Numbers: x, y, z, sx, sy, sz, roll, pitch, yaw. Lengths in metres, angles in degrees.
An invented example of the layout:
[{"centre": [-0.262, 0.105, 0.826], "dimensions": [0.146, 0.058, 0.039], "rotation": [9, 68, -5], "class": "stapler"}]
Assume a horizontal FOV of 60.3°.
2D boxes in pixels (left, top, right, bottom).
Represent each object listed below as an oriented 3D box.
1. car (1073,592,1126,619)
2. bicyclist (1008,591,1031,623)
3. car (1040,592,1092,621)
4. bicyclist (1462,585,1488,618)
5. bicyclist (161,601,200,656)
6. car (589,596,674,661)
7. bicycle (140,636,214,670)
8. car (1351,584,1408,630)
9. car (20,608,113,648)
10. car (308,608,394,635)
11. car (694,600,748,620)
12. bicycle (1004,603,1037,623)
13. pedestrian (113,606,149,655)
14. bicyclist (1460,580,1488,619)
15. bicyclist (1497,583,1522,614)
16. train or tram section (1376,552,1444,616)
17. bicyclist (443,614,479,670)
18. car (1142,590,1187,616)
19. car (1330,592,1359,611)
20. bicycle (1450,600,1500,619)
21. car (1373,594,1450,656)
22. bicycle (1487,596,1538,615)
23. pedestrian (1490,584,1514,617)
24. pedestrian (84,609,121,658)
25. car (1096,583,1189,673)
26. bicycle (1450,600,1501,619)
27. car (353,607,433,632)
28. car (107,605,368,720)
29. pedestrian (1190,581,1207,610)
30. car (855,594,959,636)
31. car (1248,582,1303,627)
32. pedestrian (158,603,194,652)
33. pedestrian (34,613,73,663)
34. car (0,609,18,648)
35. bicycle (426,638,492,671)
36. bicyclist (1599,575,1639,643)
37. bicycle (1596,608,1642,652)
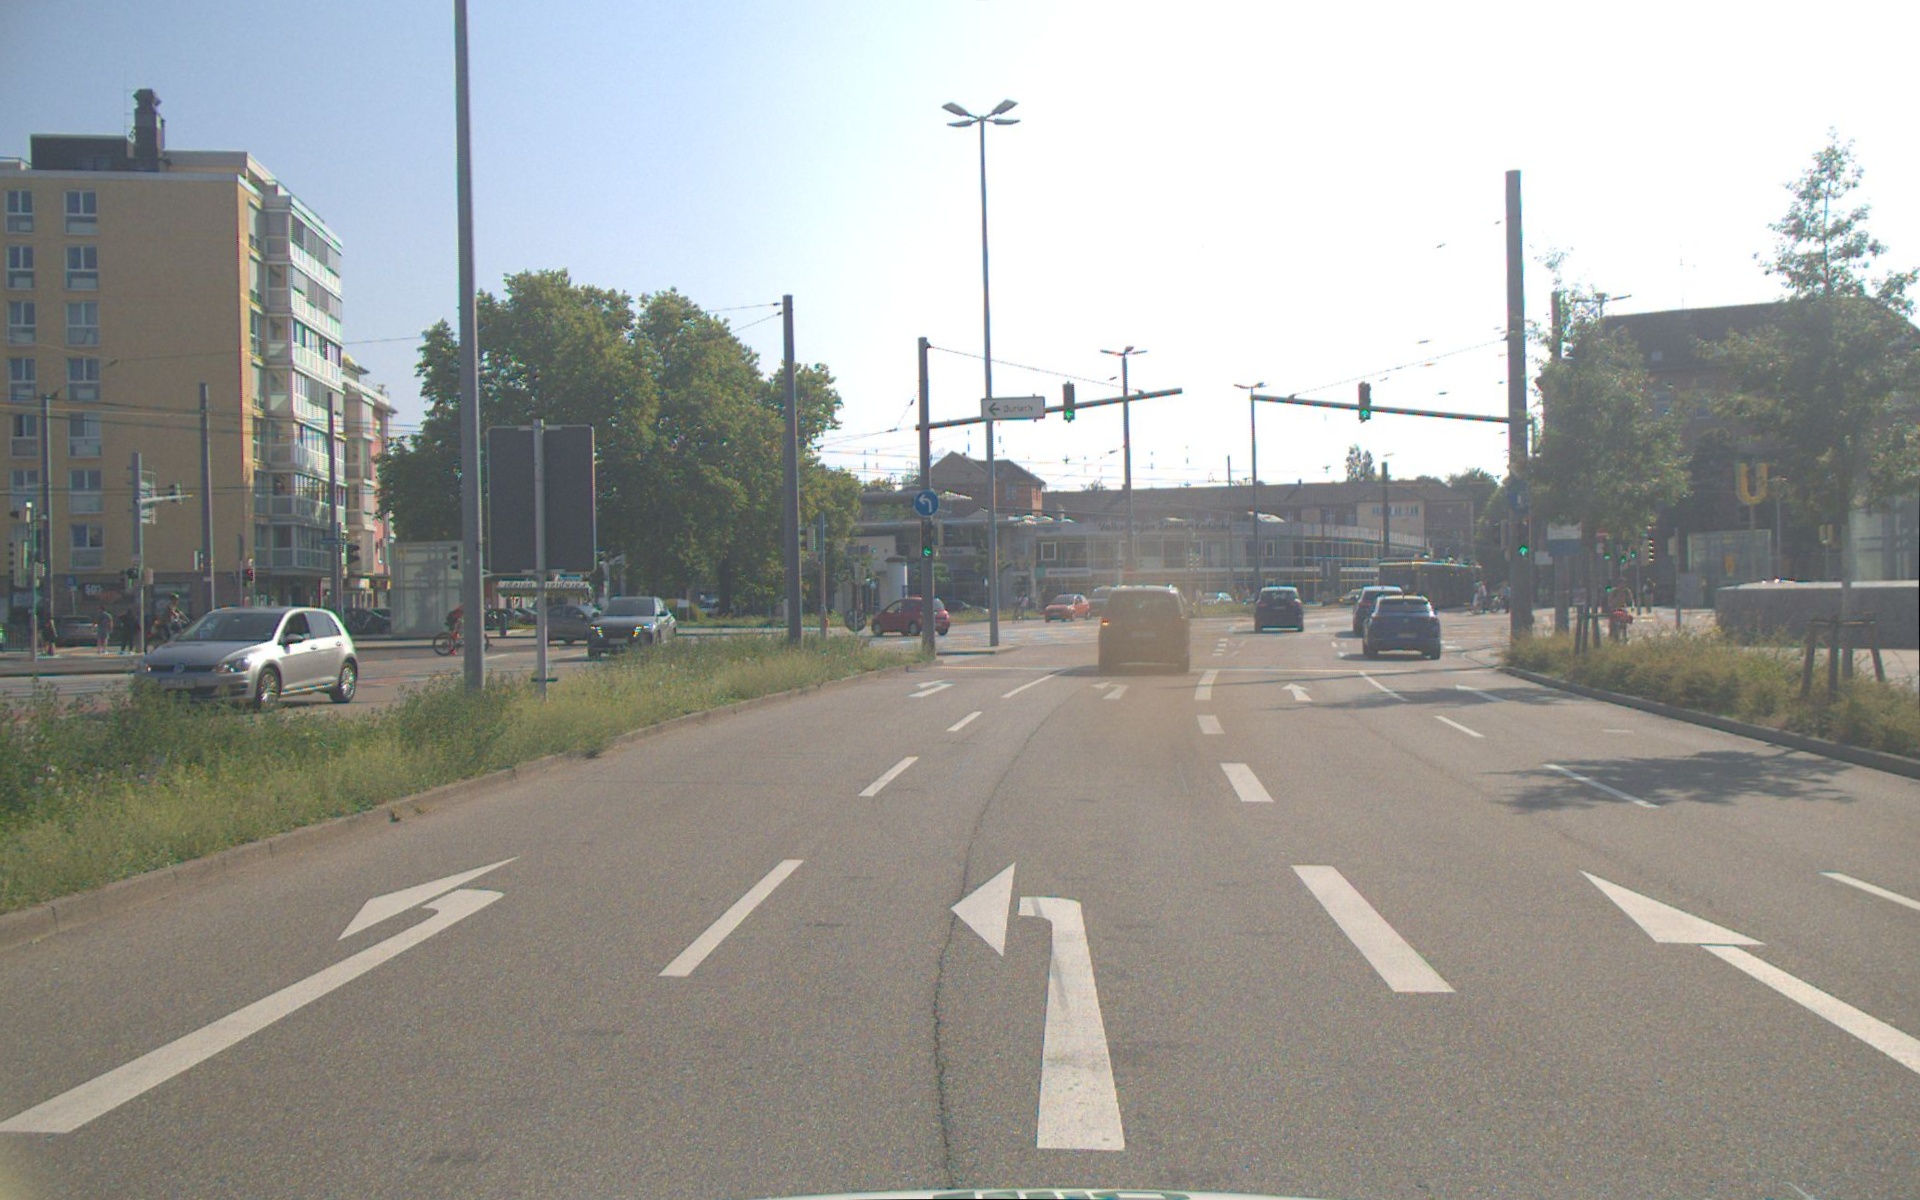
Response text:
[{"centre": [8.380, 0.311, 99.164], "dimensions": [1.921, 1.501, 3.999], "rotation": [-3, -1, 23], "class": "car"}, {"centre": [3.338, 0.378, 92.699], "dimensions": [0.938, 1.779, 1.166], "rotation": [-1, 0, 24], "class": "bicyclist"}, {"centre": [5.931, 0.361, 92.057], "dimensions": [1.581, 1.501, 3.999], "rotation": [-3, -1, 23], "class": "car"}, {"centre": [28.669, 0.080, 92.045], "dimensions": [0.918, 1.831, 1.088], "rotation": [-1, 0, -15], "class": "bicyclist"}, {"centre": [-22.726, 0.822, 48.201], "dimensions": [0.778, 1.554, 0.726], "rotation": [-1, 0, -3], "class": "bicyclist"}, {"centre": [-8.903, 0.750, 45.132], "dimensions": [1.660, 1.645, 4.458], "rotation": [-1, 0, -3], "class": "car"}, {"centre": [-22.798, 1.542, 48.194], "dimensions": [1.776, 0.948, 0.726], "rotation": [-1, 0, -3], "class": "bicycle"}, {"centre": [14.357, 0.213, 56.796], "dimensions": [1.786, 1.453, 4.416], "rotation": [-1, 0, 13], "class": "car"}, {"centre": [-39.812, 1.247, 73.675], "dimensions": [4.461, 1.708, 1.992], "rotation": [-1, 0, 37], "class": "car"}, {"centre": [-32.510, 1.122, 88.376], "dimensions": [4.081, 1.378, 1.478], "rotation": [-1, 0, -11], "class": "car"}, {"centre": [-19.745, 0.840, 136.646], "dimensions": [1.673, 1.549, 4.492], "rotation": [-1, 0, 39], "class": "car"}, {"centre": [3.402, 0.714, 92.837], "dimensions": [0.938, 1.075, 2.607], "rotation": [-1, 0, 24], "class": "bicycle"}, {"centre": [-29.692, 1.098, 59.241], "dimensions": [0.905, 1.719, 0.921], "rotation": [-1, 0, -9], "class": "pedestrian"}, {"centre": [27.931, -0.028, 89.838], "dimensions": [0.923, 2.059, 1.083], "rotation": [-1, 0, -29], "class": "bicyclist"}, {"centre": [30.967, -0.063, 93.209], "dimensions": [0.918, 1.709, 1.088], "rotation": [-1, 0, -15], "class": "bicyclist"}, {"centre": [28.525, -1.040, 104.604], "dimensions": [2.601, 3.763, 10.586], "rotation": [-1, 0, 23], "class": "train or tram section"}, {"centre": [-15.089, 1.263, 50.062], "dimensions": [0.863, 1.681, 0.726], "rotation": [-1, 0, -3], "class": "bicyclist"}, {"centre": [12.391, 0.160, 100.033], "dimensions": [1.581, 1.501, 3.999], "rotation": [-3, -1, 23], "class": "car"}, {"centre": [32.294, 0.145, 138.901], "dimensions": [1.582, 1.501, 3.998], "rotation": [-3, -1, 24], "class": "car"}, {"centre": [27.981, 0.524, 89.855], "dimensions": [2.589, 0.981, 1.083], "rotation": [-1, 0, -29], "class": "bicycle"}, {"centre": [11.537, 0.610, 42.440], "dimensions": [1.786, 1.453, 4.416], "rotation": [-1, 0, 14], "class": "car"}, {"centre": [31.155, 0.307, 93.268], "dimensions": [2.575, 0.981, 1.088], "rotation": [-1, 0, -16], "class": "bicycle"}, {"centre": [29.775, 0.027, 90.822], "dimensions": [0.916, 1.828, 0.850], "rotation": [-1, 0, -32], "class": "pedestrian"}, {"centre": [-30.773, 1.190, 59.363], "dimensions": [0.905, 1.719, 0.921], "rotation": [-1, 0, -9], "class": "pedestrian"}, {"centre": [3.795, 0.523, 34.370], "dimensions": [1.787, 1.744, 4.415], "rotation": [0, 0, 6], "class": "car"}, {"centre": [28.691, 0.508, 92.051], "dimensions": [2.575, 0.981, 1.088], "rotation": [-1, 0, -16], "class": "bicycle"}, {"centre": [-32.375, 1.109, 94.499], "dimensions": [4.081, 1.378, 1.574], "rotation": [-1, 0, -11], "class": "car"}, {"centre": [-10.292, 0.834, 23.943], "dimensions": [1.776, 1.458, 4.226], "rotation": [-1, 0, 2], "class": "car"}, {"centre": [12.955, -0.238, 89.682], "dimensions": [0.761, 1.529, 0.710], "rotation": [-1, 0, 20], "class": "pedestrian"}, {"centre": [-2.141, 0.607, 65.544], "dimensions": [1.814, 1.562, 4.348], "rotation": [-2, 0, -40], "class": "car"}, {"centre": [11.595, 0.129, 60.557], "dimensions": [1.786, 1.562, 4.416], "rotation": [-1, 0, 13], "class": "car"}, {"centre": [-28.029, 0.982, 59.139], "dimensions": [0.905, 1.719, 0.921], "rotation": [-1, 0, -9], "class": "pedestrian"}, {"centre": [-31.930, 1.325, 58.270], "dimensions": [0.905, 1.719, 0.921], "rotation": [-1, 0, -9], "class": "pedestrian"}, {"centre": [-44.162, 1.299, 73.754], "dimensions": [4.455, 1.708, 1.994], "rotation": [-1, 0, 33], "class": "car"}, {"centre": [-15.146, 1.646, 50.055], "dimensions": [1.776, 0.948, 0.726], "rotation": [-1, 0, -3], "class": "bicycle"}, {"centre": [15.283, 0.214, 38.368], "dimensions": [0.704, 1.539, 1.005], "rotation": [-1, 0, 13], "class": "bicyclist"}, {"centre": [15.312, 0.685, 38.458], "dimensions": [0.704, 0.976, 1.923], "rotation": [-1, 0, 13], "class": "bicycle"}]
